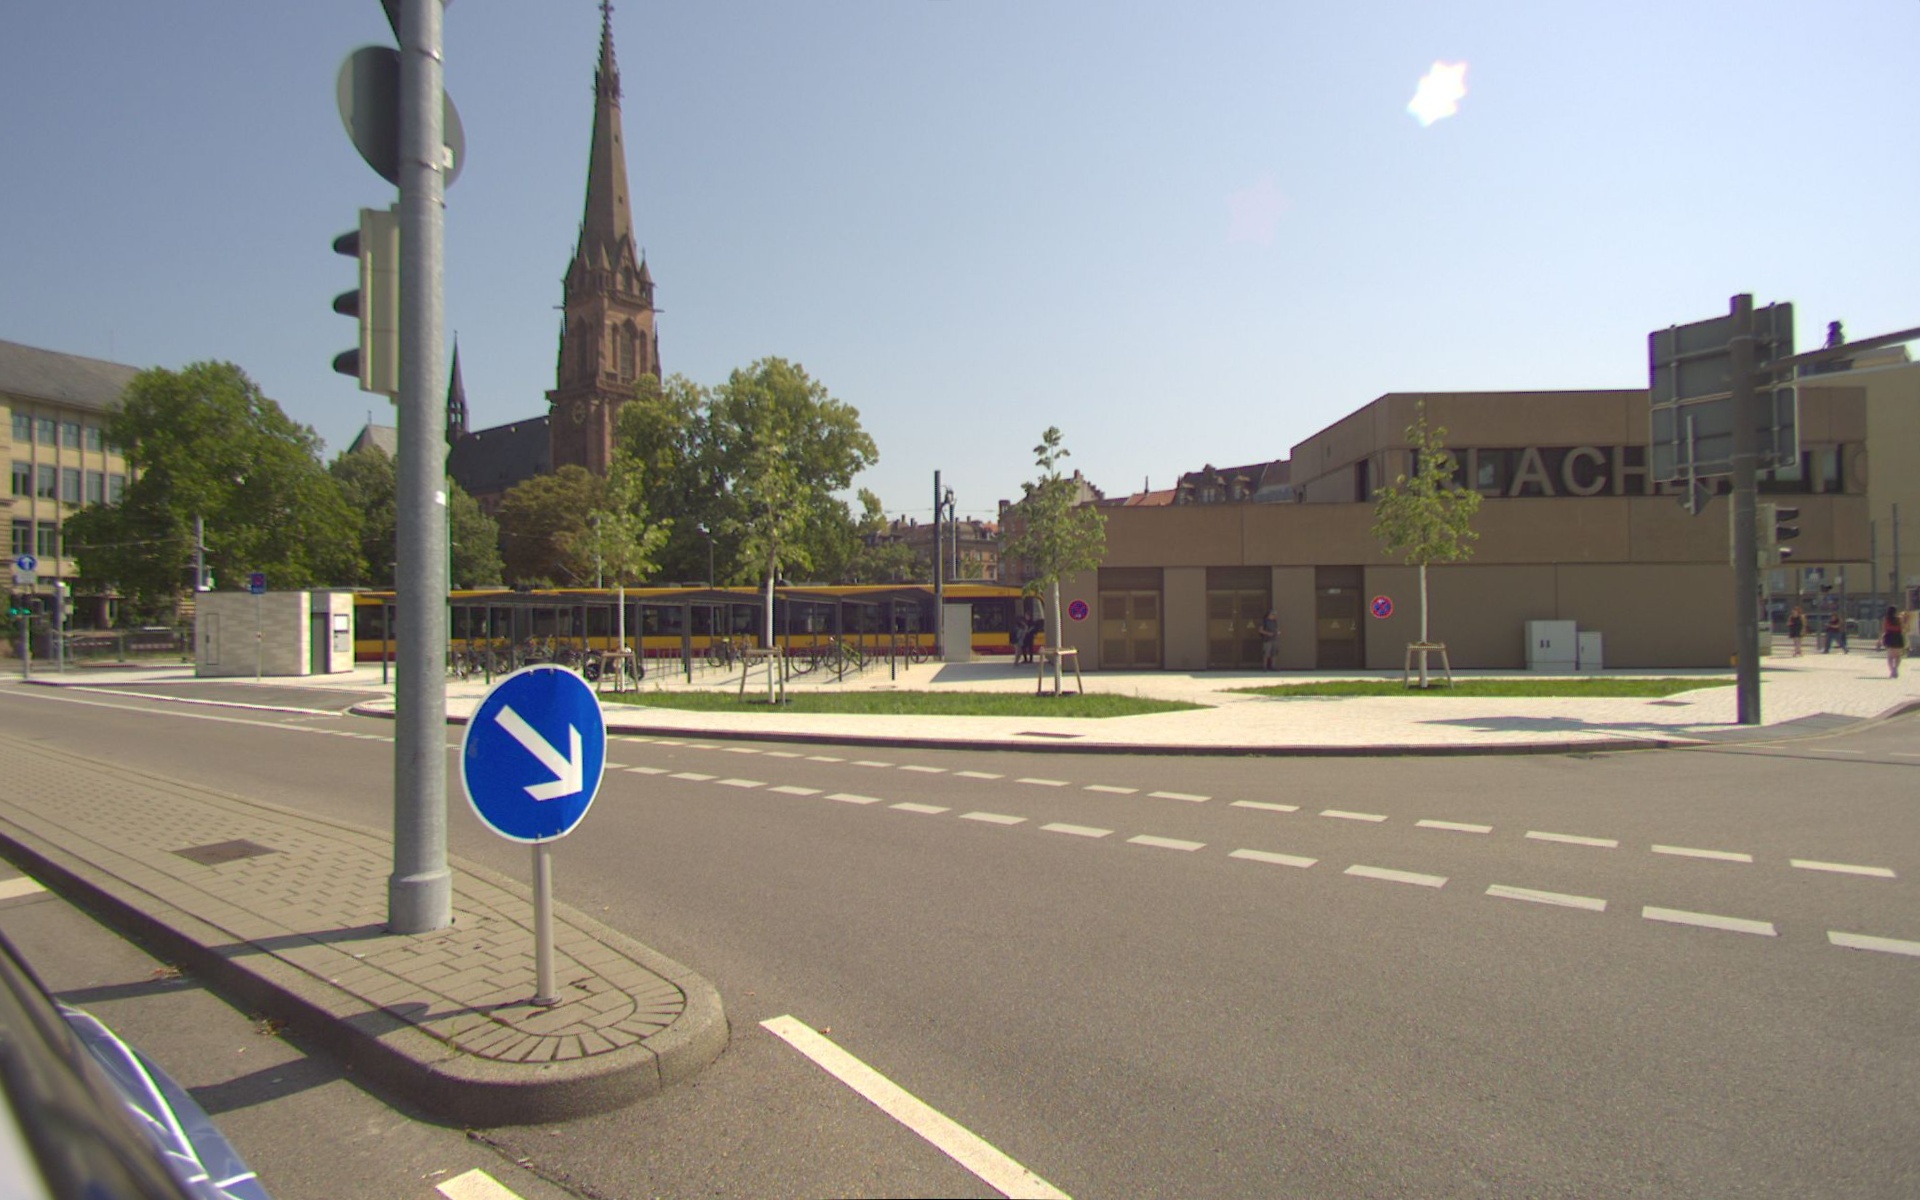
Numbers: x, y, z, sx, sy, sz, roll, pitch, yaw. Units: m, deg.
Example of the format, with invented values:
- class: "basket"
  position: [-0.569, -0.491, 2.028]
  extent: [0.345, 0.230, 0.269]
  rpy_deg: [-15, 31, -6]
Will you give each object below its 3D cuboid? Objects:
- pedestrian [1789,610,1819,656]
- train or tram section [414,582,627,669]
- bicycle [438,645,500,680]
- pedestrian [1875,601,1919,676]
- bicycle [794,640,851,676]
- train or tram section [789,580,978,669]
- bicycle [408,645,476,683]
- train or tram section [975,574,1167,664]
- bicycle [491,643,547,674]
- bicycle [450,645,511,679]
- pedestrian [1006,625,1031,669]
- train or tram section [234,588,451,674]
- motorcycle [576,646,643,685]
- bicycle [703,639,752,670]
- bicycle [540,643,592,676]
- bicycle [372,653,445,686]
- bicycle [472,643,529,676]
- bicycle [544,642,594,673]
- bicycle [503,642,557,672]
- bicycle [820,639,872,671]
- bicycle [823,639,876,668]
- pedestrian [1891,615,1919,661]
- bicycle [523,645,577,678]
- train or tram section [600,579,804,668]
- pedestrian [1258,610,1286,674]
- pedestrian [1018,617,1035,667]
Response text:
- class: "pedestrian"
  position: [28.964, 1.137, 34.728]
  extent: [0.564, 1.550, 0.491]
  rpy_deg: [-1, -1, 1]
- class: "train or tram section"
  position: [-19.942, 1.193, 46.208]
  extent: [8.411, 3.625, 3.159]
  rpy_deg: [-2, -2, 2]
- class: "bicycle"
  position: [-15.449, 1.965, 31.848]
  extent: [1.747, 1.048, 0.526]
  rpy_deg: [-1, -2, 5]
- class: "pedestrian"
  position: [22.062, 0.887, 23.741]
  extent: [0.773, 1.715, 0.630]
  rpy_deg: [0, -1, -27]
- class: "bicycle"
  position: [-4.241, 1.791, 31.232]
  extent: [1.708, 1.048, 0.514]
  rpy_deg: [-1, -2, -5]
- class: "train or tram section"
  position: [-3.302, 1.137, 45.497]
  extent: [8.135, 3.625, 3.159]
  rpy_deg: [-2, -2, 2]
- class: "bicycle"
  position: [-15.661, 1.939, 30.616]
  extent: [1.841, 1.090, 0.526]
  rpy_deg: [-1, -2, 5]
- class: "train or tram section"
  position: [4.804, 0.882, 45.183]
  extent: [8.133, 3.597, 3.143]
  rpy_deg: [-2, -3, 2]
- class: "bicycle"
  position: [-15.513, 2.046, 35.616]
  extent: [1.747, 1.048, 0.526]
  rpy_deg: [-1, -2, 5]
- class: "bicycle"
  position: [-15.411, 1.983, 32.551]
  extent: [1.747, 1.048, 0.526]
  rpy_deg: [-1, -2, 5]
- class: "pedestrian"
  position: [1.918, 1.554, 33.219]
  extent: [0.666, 1.421, 0.438]
  rpy_deg: [-2, -2, 36]
- class: "train or tram section"
  position: [-28.247, 1.461, 46.546]
  extent: [8.216, 3.588, 3.135]
  rpy_deg: [-2, -3, 2]
- class: "motorcycle"
  position: [-10.076, 1.885, 29.104]
  extent: [1.757, 1.077, 0.490]
  rpy_deg: [-1, -2, 5]
- class: "bicycle"
  position: [-8.074, 1.895, 35.204]
  extent: [1.620, 1.048, 0.412]
  rpy_deg: [-1, -2, 5]
- class: "bicycle"
  position: [-13.208, 1.999, 33.937]
  extent: [1.620, 1.048, 0.412]
  rpy_deg: [-1, -2, 5]
- class: "bicycle"
  position: [-15.880, 1.993, 29.152]
  extent: [1.874, 0.890, 0.490]
  rpy_deg: [-1, -2, 5]
- class: "bicycle"
  position: [-15.527, 2.008, 34.197]
  extent: [1.747, 1.048, 0.526]
  rpy_deg: [-1, -2, 5]
- class: "bicycle"
  position: [-13.614, 2.006, 35.263]
  extent: [1.620, 1.048, 0.412]
  rpy_deg: [-1, -2, 5]
- class: "bicycle"
  position: [-15.589, 2.065, 36.699]
  extent: [1.747, 1.048, 0.526]
  rpy_deg: [-1, -2, 5]
- class: "bicycle"
  position: [-3.918, 1.894, 34.702]
  extent: [1.706, 1.048, 0.514]
  rpy_deg: [-1, -2, -10]
- class: "bicycle"
  position: [-3.958, 1.907, 36.363]
  extent: [1.831, 0.993, 0.513]
  rpy_deg: [-1, -2, 1]
- class: "pedestrian"
  position: [35.745, 1.410, 38.180]
  extent: [0.795, 1.715, 0.648]
  rpy_deg: [0, -2, -30]
- class: "bicycle"
  position: [-13.318, 1.989, 32.883]
  extent: [1.620, 1.048, 0.412]
  rpy_deg: [-1, -2, 5]
- class: "train or tram section"
  position: [-11.548, 1.097, 45.848]
  extent: [8.411, 3.625, 3.159]
  rpy_deg: [-2, -2, 2]
- class: "pedestrian"
  position: [8.310, 1.111, 26.956]
  extent: [0.529, 1.691, 0.568]
  rpy_deg: [-1, -1, 1]
- class: "pedestrian"
  position: [2.295, 1.444, 35.035]
  extent: [0.561, 1.691, 0.444]
  rpy_deg: [-1, -1, 2]
